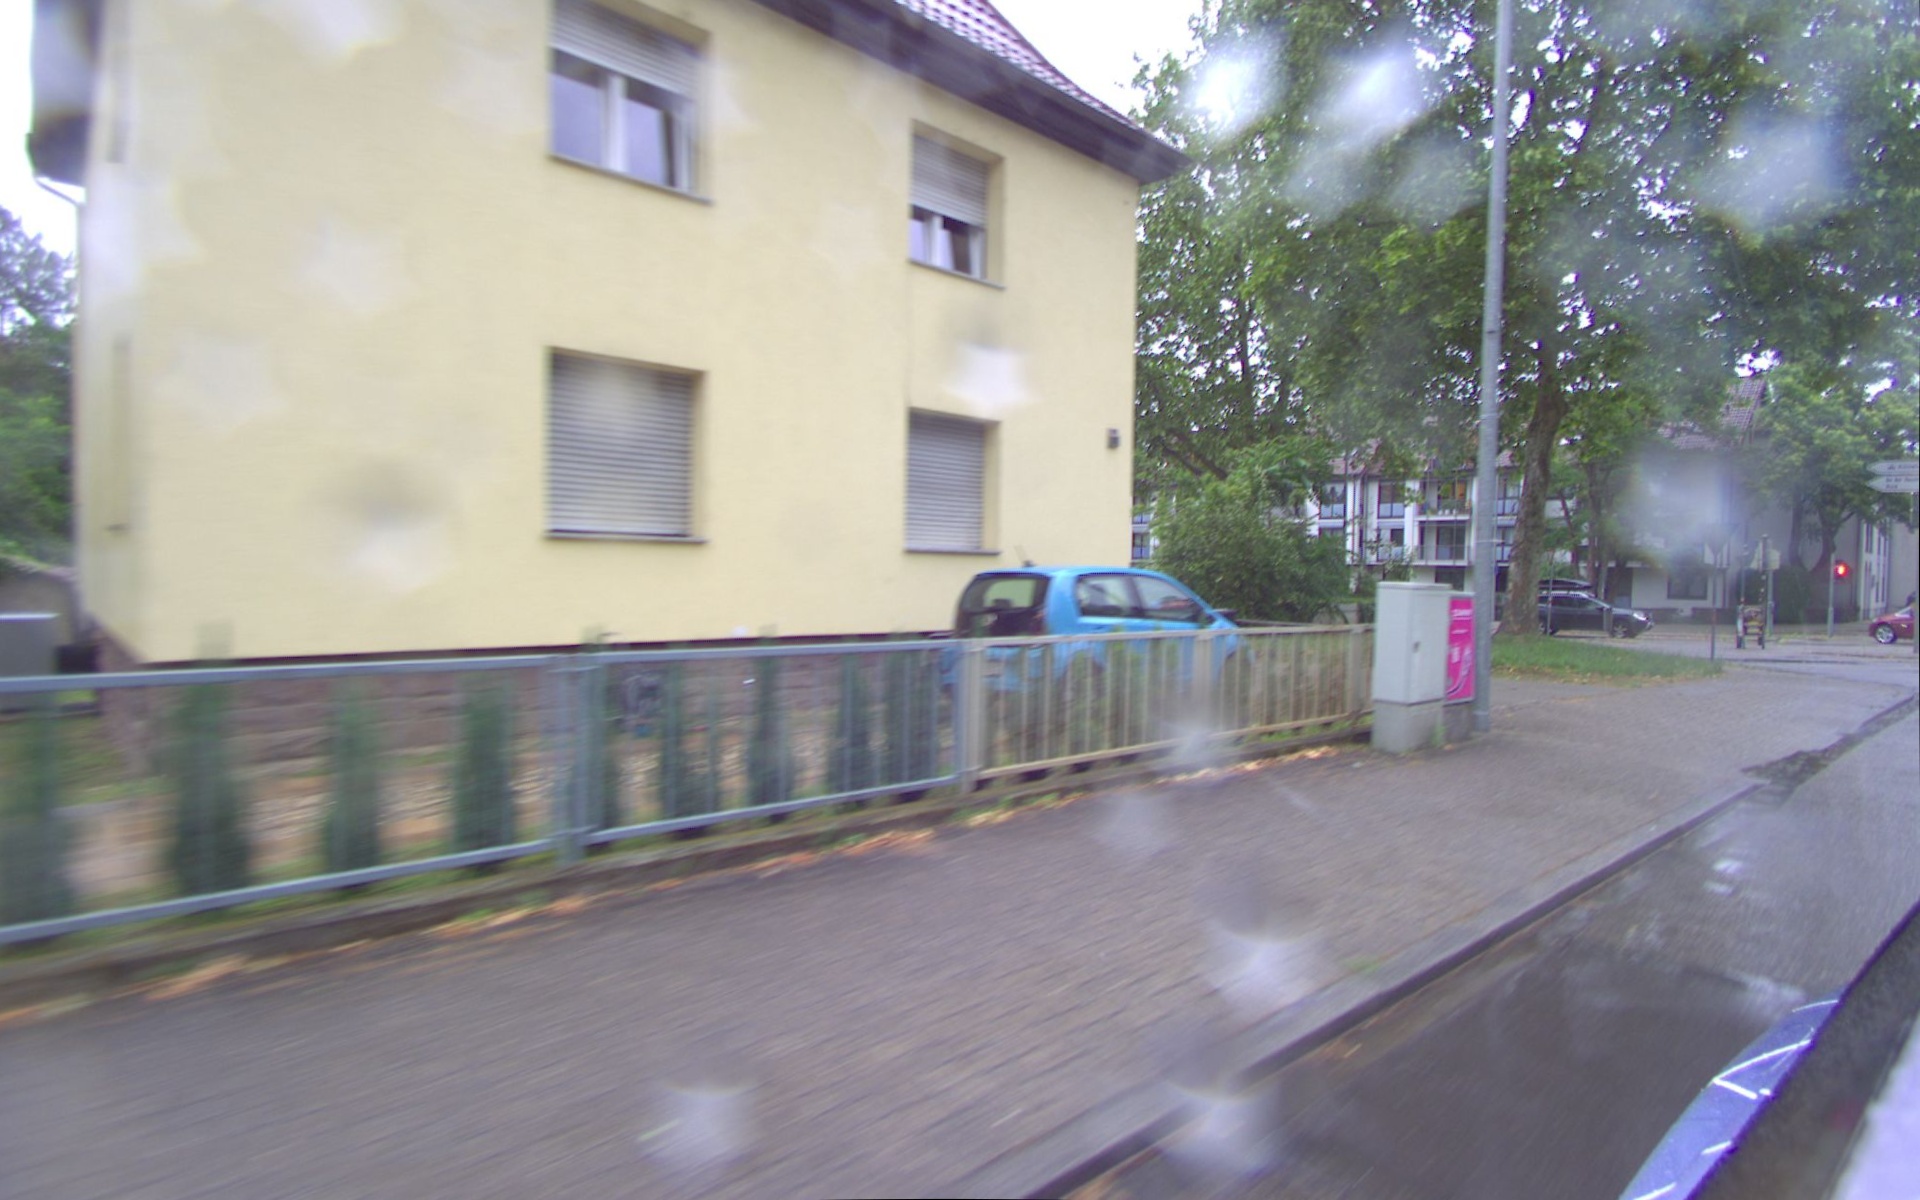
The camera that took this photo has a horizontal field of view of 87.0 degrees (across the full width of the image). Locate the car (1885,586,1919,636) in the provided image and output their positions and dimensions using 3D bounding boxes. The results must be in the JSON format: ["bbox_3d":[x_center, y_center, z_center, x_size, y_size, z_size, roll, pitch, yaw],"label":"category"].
[{"bbox_3d":[32.729,0.436,32.674,1.759,1.629,4.097,1,2,-4],"label":"car"}]

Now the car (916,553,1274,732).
[{"bbox_3d":[1.439,0.325,10.161,3.463,1.489,1.673,0,2,-40],"label":"car"}]

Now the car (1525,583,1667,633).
[{"bbox_3d":[23.534,0.239,37.563,4.215,1.708,1.683,2,2,44],"label":"car"}]

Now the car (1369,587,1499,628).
[{"bbox_3d":[19.404,0.275,41.570,4.610,1.463,1.586,2,4,44],"label":"car"}]
